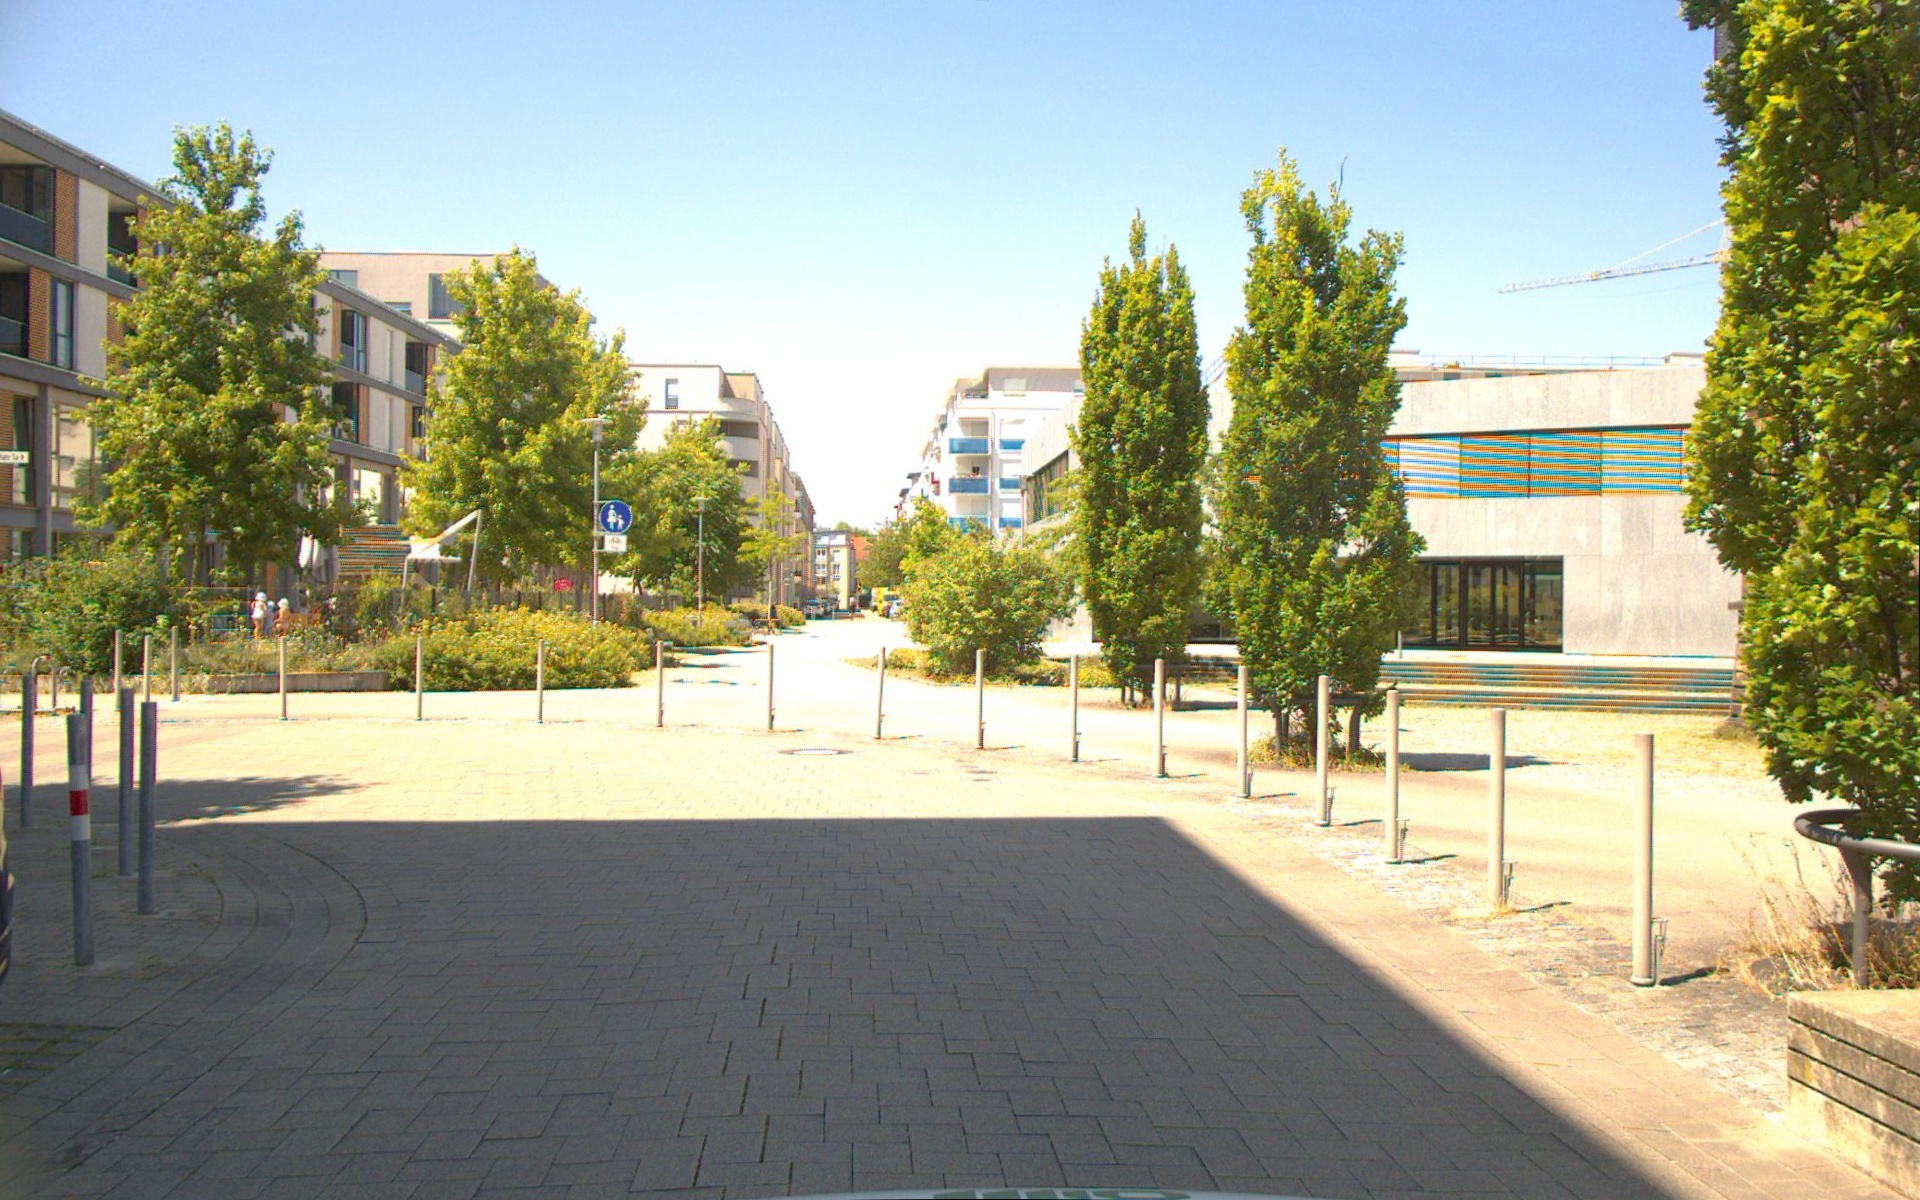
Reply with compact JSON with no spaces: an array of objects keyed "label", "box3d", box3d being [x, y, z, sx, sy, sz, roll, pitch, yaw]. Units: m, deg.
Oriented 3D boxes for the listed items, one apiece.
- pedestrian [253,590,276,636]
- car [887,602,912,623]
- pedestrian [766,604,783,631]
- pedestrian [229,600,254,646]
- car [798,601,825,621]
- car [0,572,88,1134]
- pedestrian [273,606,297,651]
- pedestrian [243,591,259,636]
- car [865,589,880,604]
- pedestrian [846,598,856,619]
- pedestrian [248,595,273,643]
[{"label":"pedestrian","box3d":[-16.073,0.296,38.219,0.389,1.044,0.411,1,-2,-11]},{"label":"car","box3d":[-4.827,0.980,132.113,1.953,1.637,3.998,1,-1,-2]},{"label":"pedestrian","box3d":[-9.390,0.873,83.708,0.830,1.372,0.695,1,0,-4]},{"label":"pedestrian","box3d":[-16.611,0.530,38.241,0.308,1.043,0.411,-1,-2,32]},{"label":"car","box3d":[-12.591,0.923,140.255,2.103,1.681,4.086,1,-1,-2]},{"label":"car","box3d":[-3.324,0.667,2.703,1.739,1.546,4.392,2,0,-5]},{"label":"pedestrian","box3d":[-14.872,0.627,36.439,0.378,0.988,0.291,0,-1,12]},{"label":"pedestrian","box3d":[-16.893,0.330,39.410,0.316,1.072,0.288,1,-1,-23]},{"label":"car","box3d":[-12.000,-0.468,227.145,1.954,2.049,3.996,1,-1,-4]},{"label":"pedestrian","box3d":[-7.912,0.630,120.394,0.680,1.556,0.598,0,0,-2]},{"label":"pedestrian","box3d":[-15.309,0.418,36.201,0.276,1.043,0.411,-1,-2,32]}]
